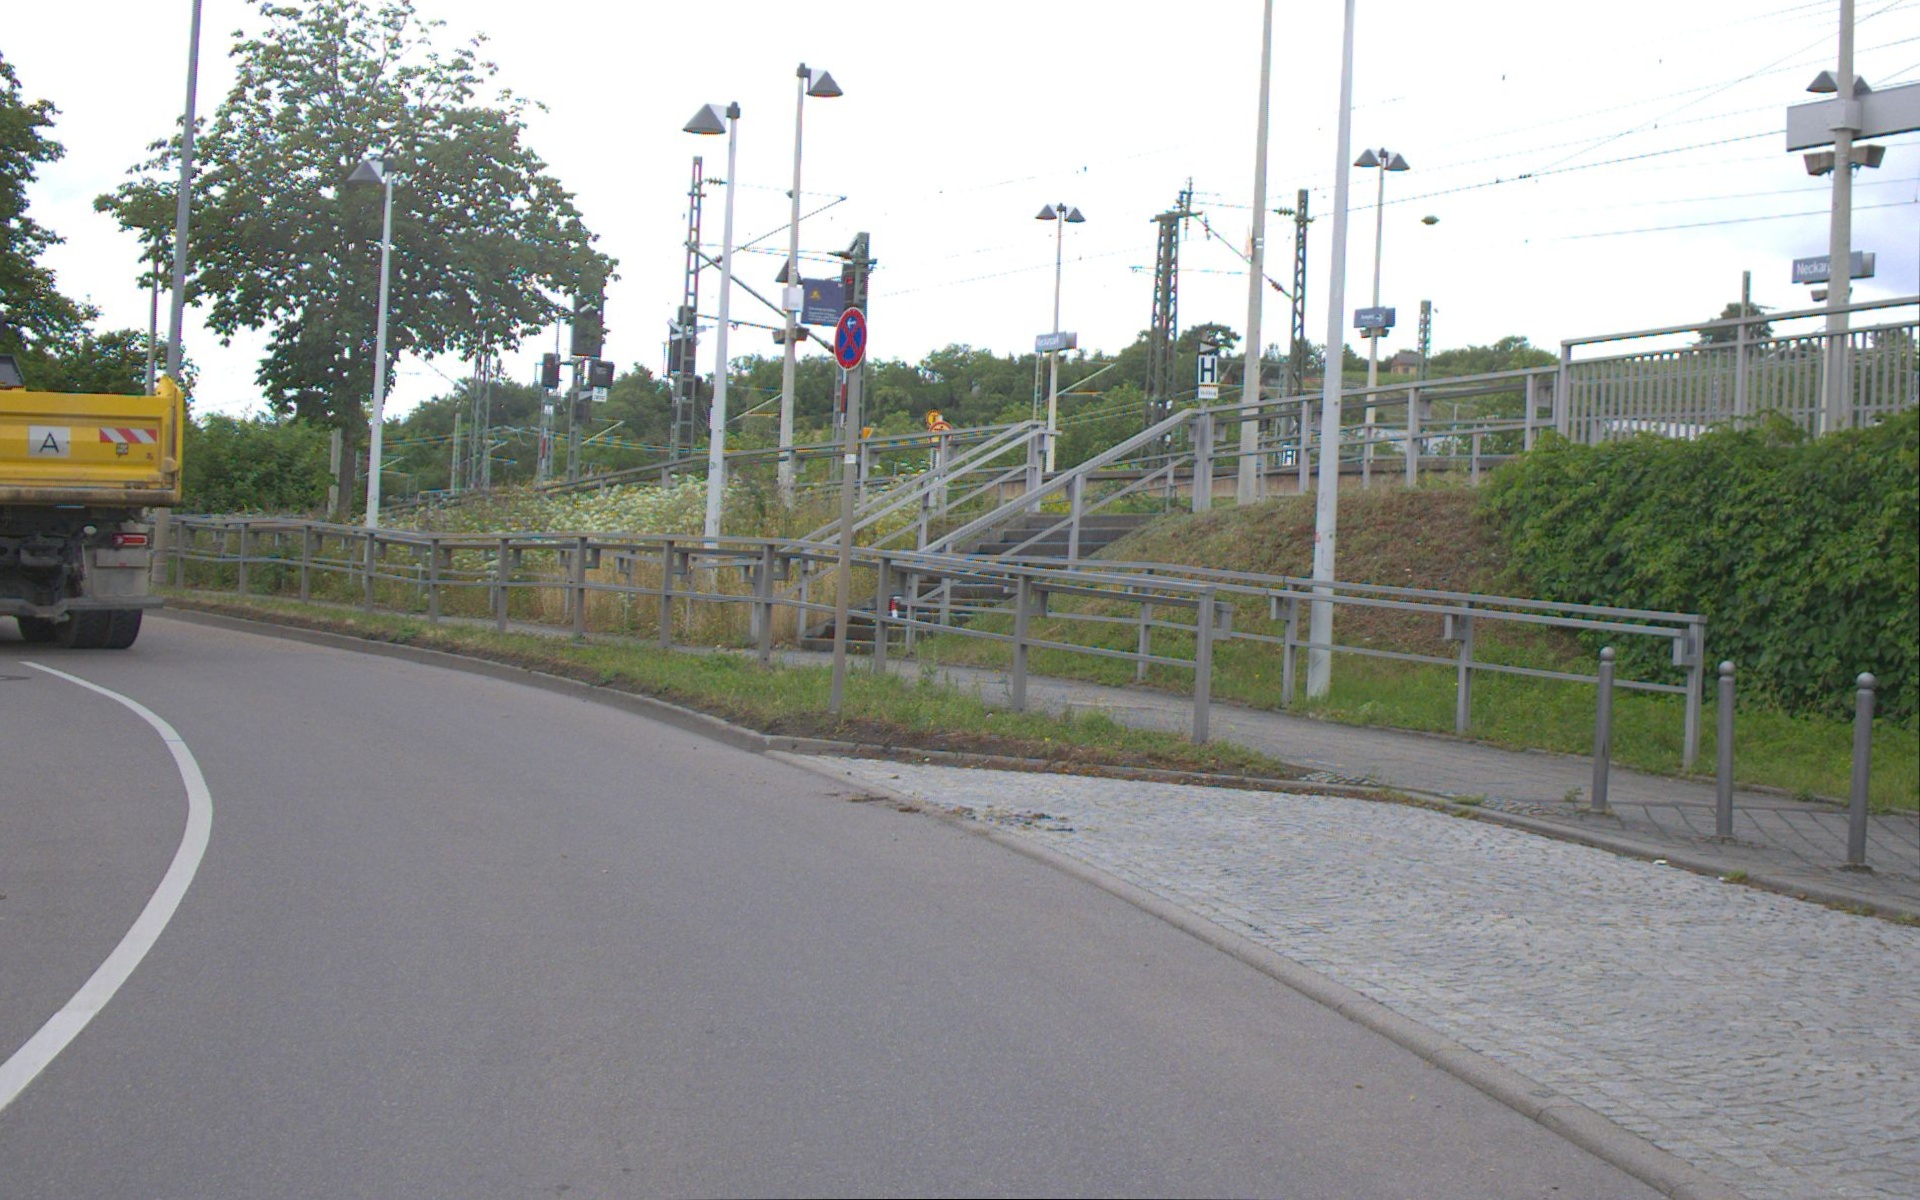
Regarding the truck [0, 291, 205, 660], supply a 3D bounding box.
[{"bbox_3d":[-10.612,-1.379,36.164,2.764,3.471,8.130,1,3,-30],"label":"truck"}]
